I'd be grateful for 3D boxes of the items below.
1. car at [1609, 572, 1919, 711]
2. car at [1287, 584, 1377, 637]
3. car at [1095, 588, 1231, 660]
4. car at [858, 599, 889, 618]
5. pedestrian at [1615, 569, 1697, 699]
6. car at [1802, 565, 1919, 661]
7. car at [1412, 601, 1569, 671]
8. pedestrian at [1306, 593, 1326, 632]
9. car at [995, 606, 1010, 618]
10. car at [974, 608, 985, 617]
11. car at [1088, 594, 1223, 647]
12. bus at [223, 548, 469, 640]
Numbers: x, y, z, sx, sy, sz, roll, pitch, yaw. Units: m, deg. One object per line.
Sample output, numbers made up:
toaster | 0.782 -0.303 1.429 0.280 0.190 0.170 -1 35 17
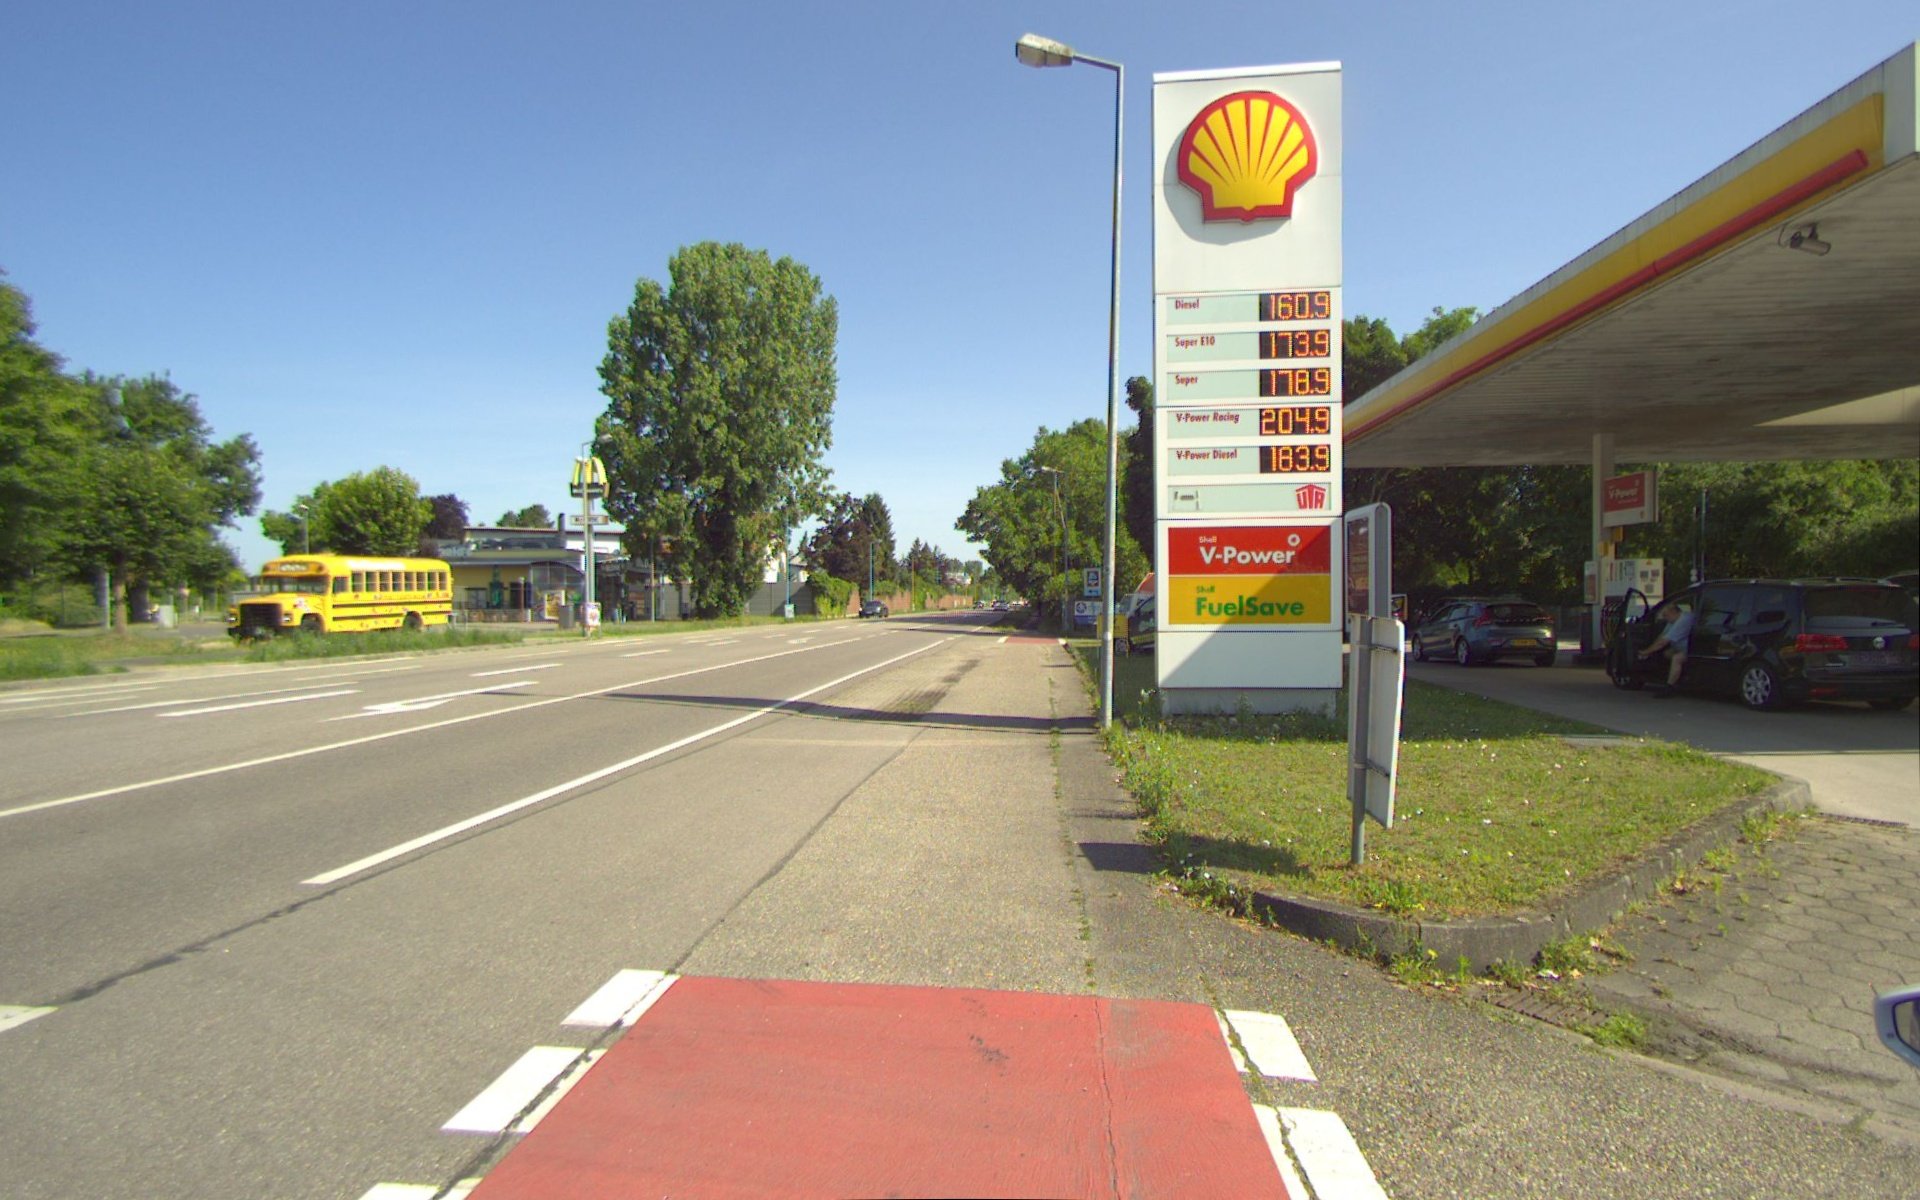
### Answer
car | 10.767 0.480 13.507 1.730 1.599 3.879 0 0 3
car | 13.695 0.376 37.224 1.960 1.789 4.001 2 0 2
car | 4.651 0.546 23.178 1.565 1.550 2.699 2 -2 -41
car | -7.267 0.738 84.859 1.815 1.515 4.914 -2 -1 5
pedestrian | 9.673 0.461 13.987 0.660 1.752 0.812 0 0 10
car | 19.592 0.244 20.031 1.820 1.862 4.782 0 0 3
car | 11.283 0.709 21.655 1.767 1.379 3.850 0 0 8
pedestrian | 14.183 0.502 40.031 0.664 1.557 0.394 0 0 9
car | 5.790 1.604 137.020 1.815 1.561 4.226 2 0 5
car | 3.679 2.409 192.913 1.815 1.561 4.226 2 0 5
car | 6.154 0.638 31.888 3.922 1.550 1.585 2 0 -2
bus | -20.713 -0.140 34.773 2.536 2.715 9.000 2 0 3
